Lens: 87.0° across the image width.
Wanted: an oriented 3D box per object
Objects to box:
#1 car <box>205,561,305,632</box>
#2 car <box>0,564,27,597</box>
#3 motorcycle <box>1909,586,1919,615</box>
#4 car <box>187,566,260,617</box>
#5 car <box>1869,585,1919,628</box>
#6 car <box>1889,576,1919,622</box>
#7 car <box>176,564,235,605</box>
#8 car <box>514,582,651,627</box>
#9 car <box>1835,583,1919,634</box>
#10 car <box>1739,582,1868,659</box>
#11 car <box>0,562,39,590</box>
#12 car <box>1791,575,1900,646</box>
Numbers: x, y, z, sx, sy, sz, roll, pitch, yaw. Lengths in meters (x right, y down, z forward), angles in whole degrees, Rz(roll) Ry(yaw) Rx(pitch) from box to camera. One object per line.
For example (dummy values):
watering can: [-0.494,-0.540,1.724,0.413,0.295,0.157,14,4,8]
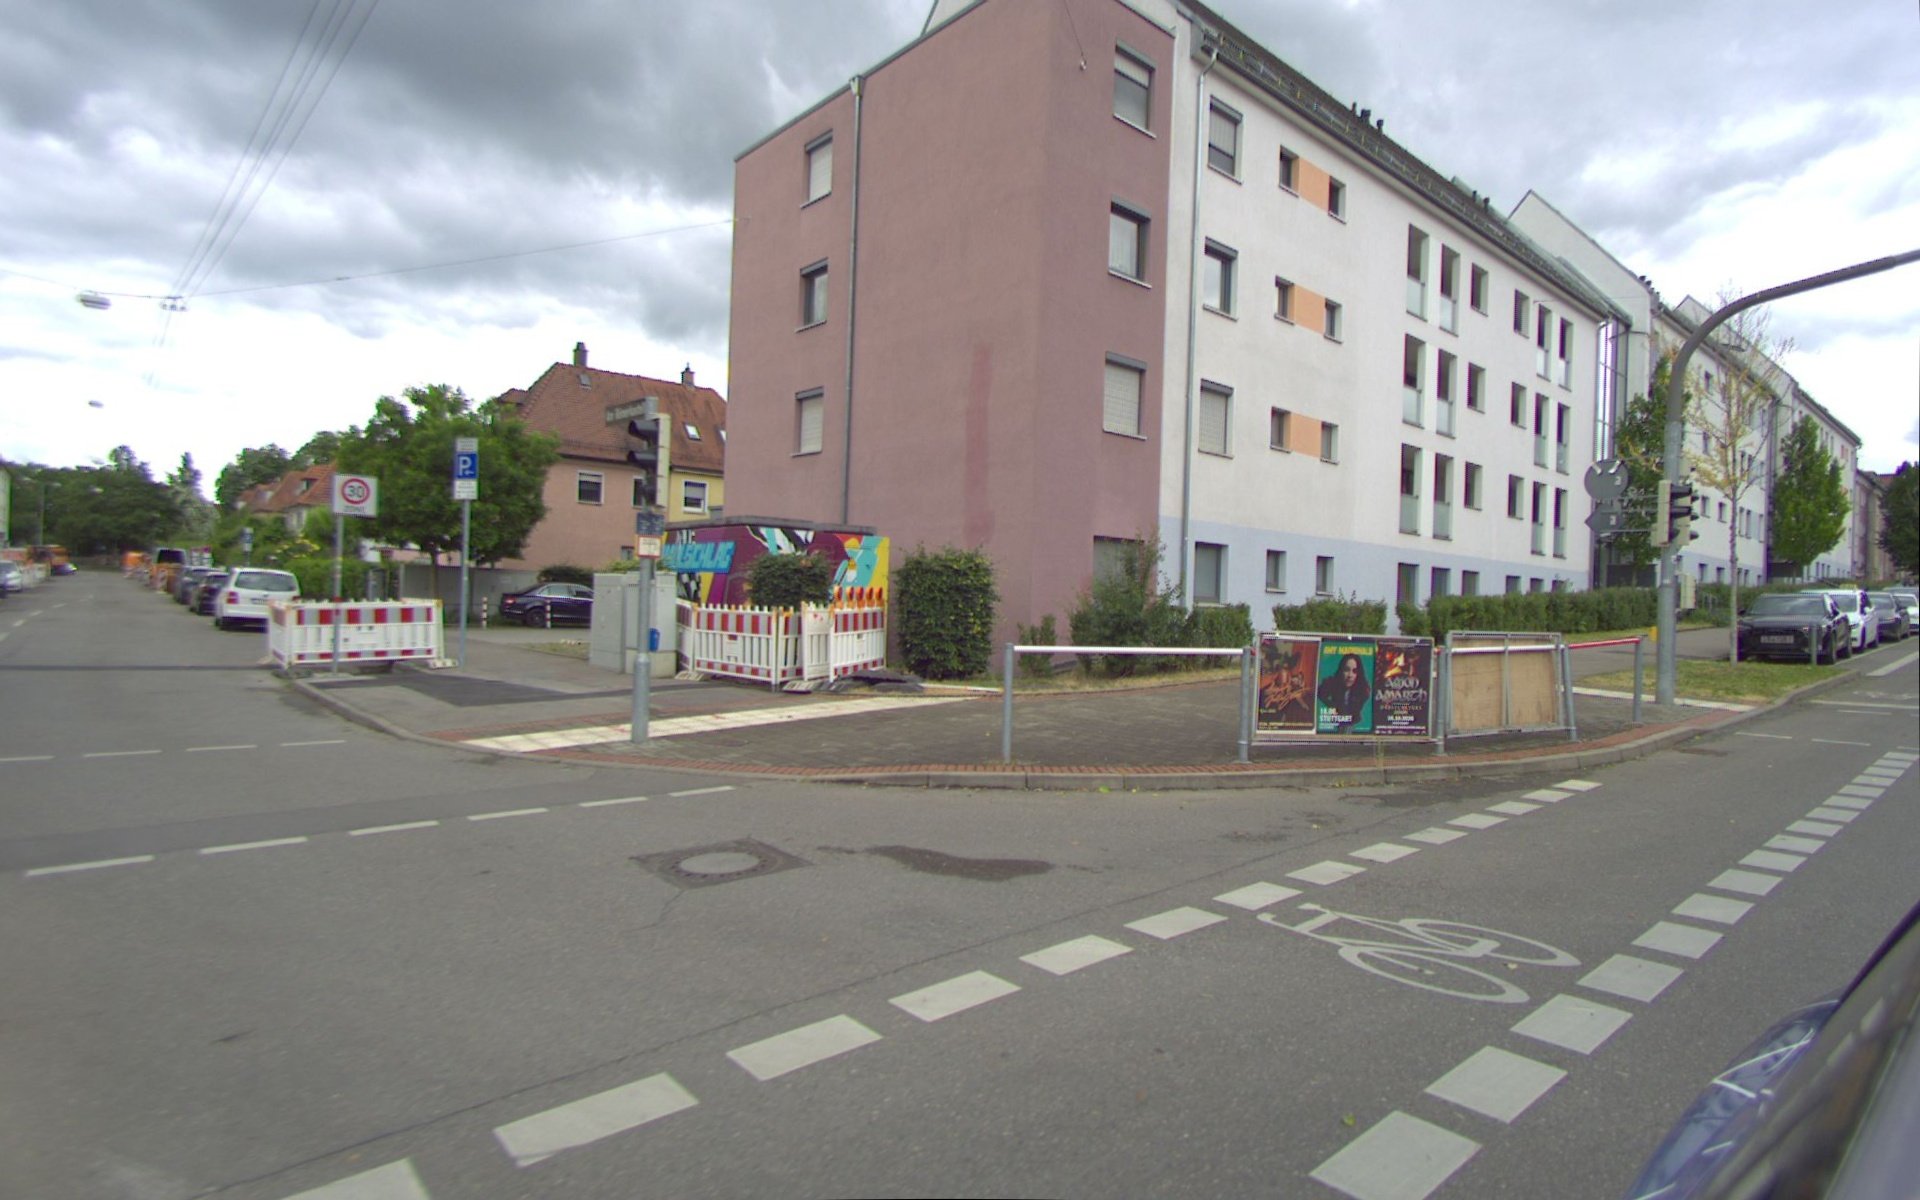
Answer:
car: [-18.987,-0.102,27.179,1.811,1.668,4.257,5,-2,-39]
car: [-42.989,-0.881,45.198,1.674,1.438,3.996,0,1,-39]
motorcycle: [44.470,0.032,45.499,0.741,1.295,2.599,0,1,-44]
car: [-25.100,-0.297,34.452,1.735,1.538,3.793,5,-2,-39]
car: [32.984,0.205,35.113,4.423,1.431,1.732,-1,0,-42]
car: [36.853,-0.052,38.574,4.280,1.671,1.634,-1,0,-41]
car: [-31.403,-0.632,42.076,1.735,1.538,3.793,5,-2,-39]
car: [-12.295,0.148,33.017,3.824,1.372,1.751,2,0,-37]
car: [28.767,0.229,31.523,4.865,1.486,1.747,-1,0,-43]
car: [19.788,0.413,23.677,4.496,1.608,1.736,-1,0,-43]
car: [-50.595,-1.268,54.229,1.675,1.438,3.995,0,1,-40]
car: [23.701,0.253,27.027,4.473,1.737,1.661,-1,0,-42]
